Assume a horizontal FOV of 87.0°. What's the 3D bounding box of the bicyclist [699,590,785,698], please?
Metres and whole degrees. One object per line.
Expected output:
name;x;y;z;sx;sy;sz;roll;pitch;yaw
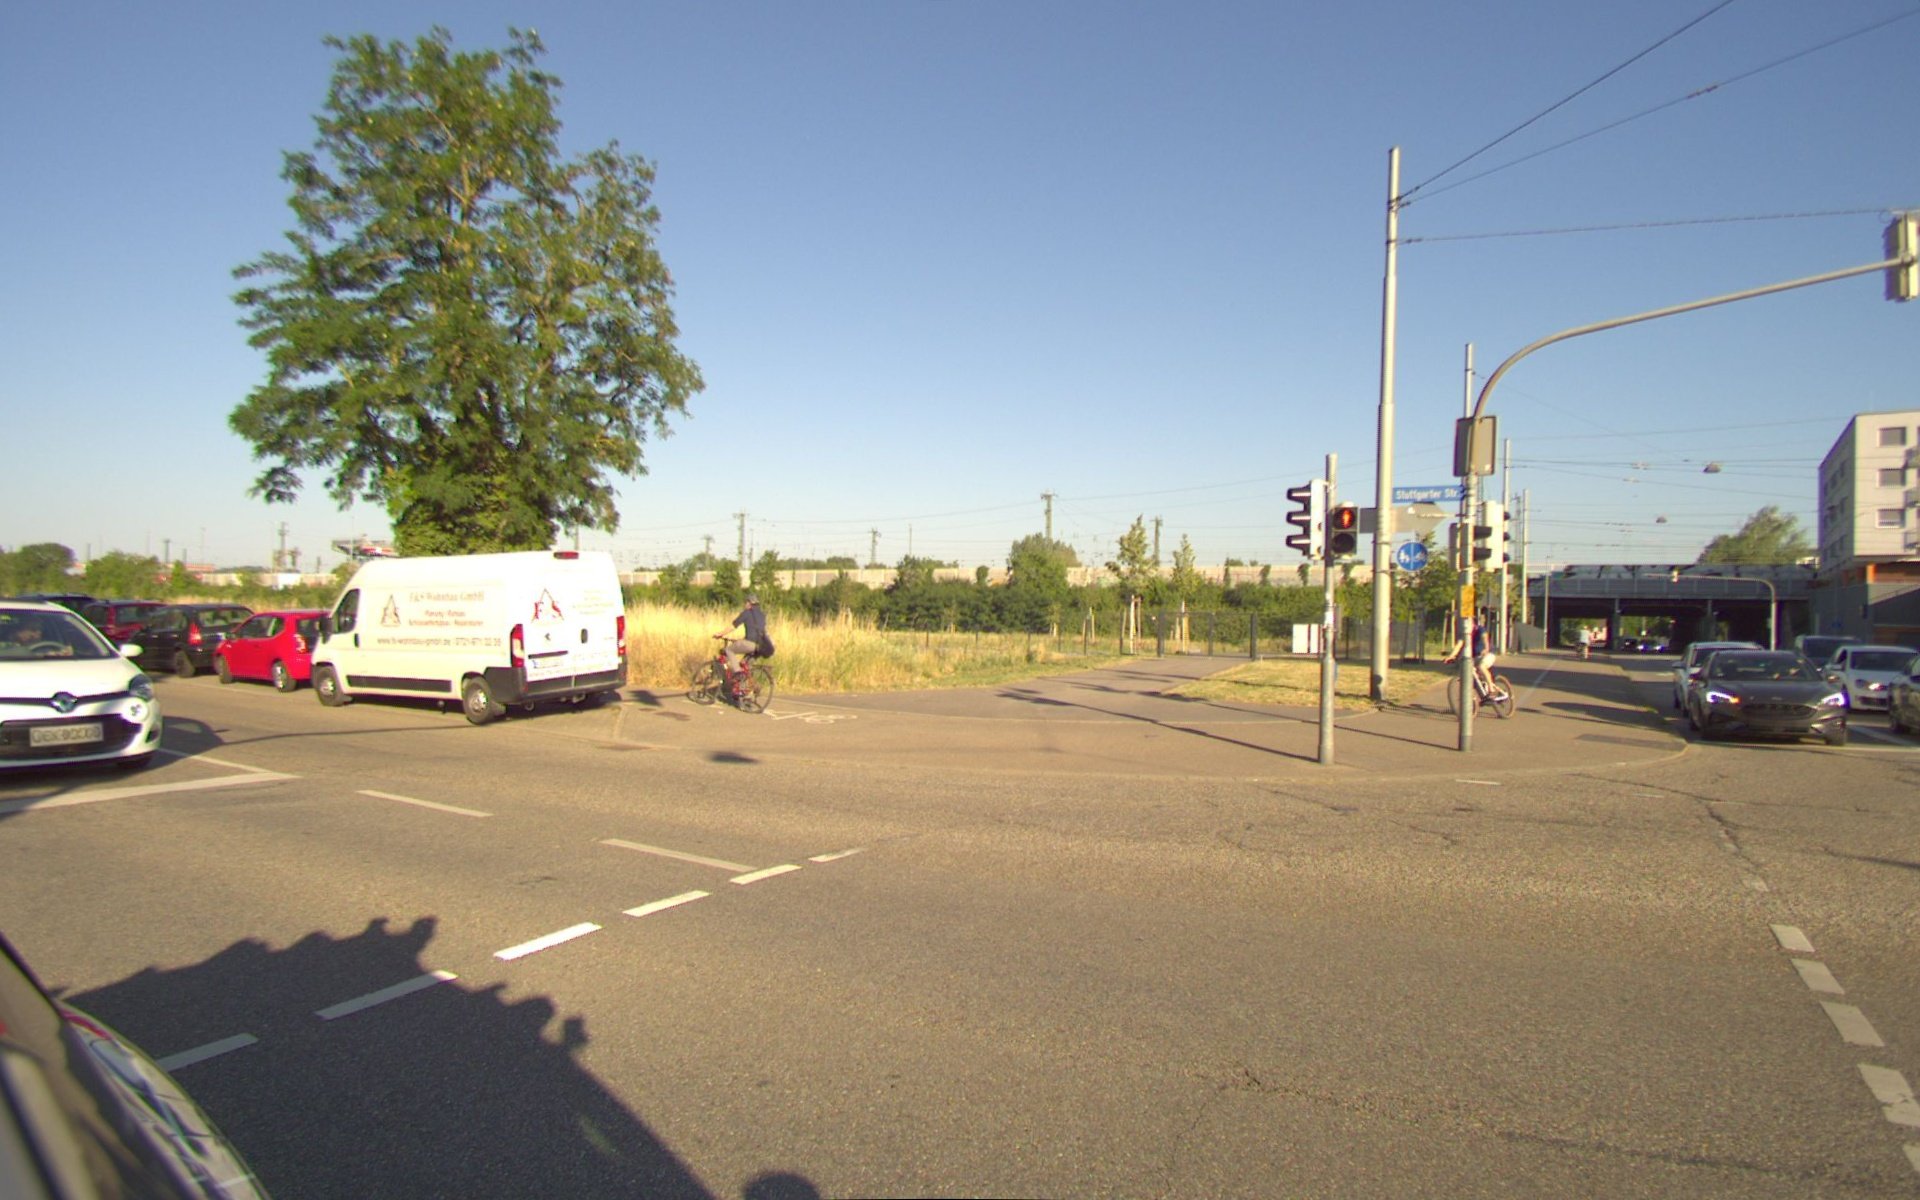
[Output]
bicyclist;-3.451;0.683;16.061;0.969;1.637;0.869;1;-1;30

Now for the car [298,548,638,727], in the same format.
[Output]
car;-7.956;0.459;16.221;5.539;2.454;2.214;1;1;30

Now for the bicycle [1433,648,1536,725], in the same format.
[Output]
bicycle;8.674;1.379;16.688;2.257;1.158;0.794;2;-2;-43

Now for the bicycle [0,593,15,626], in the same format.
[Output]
bicycle;-36.994;0.341;38.418;2.472;1.197;0.931;1;-1;30

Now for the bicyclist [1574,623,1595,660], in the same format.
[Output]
bicyclist;28.084;1.843;45.537;0.775;1.618;0.848;1;-1;33

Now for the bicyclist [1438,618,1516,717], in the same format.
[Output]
bicyclist;8.563;1.089;16.757;1.006;1.559;0.853;2;-2;-44

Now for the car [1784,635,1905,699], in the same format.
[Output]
car;24.994;1.830;28.768;1.995;1.579;4.405;0;-1;33

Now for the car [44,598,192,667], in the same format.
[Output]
car;-20.352;0.754;24.437;3.566;1.541;1.647;1;-1;31

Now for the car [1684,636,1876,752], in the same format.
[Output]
car;13.140;1.395;16.497;1.994;1.579;4.226;0;-2;33

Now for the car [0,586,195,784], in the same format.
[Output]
car;-8.578;0.625;8.861;3.761;1.480;1.688;1;-1;31

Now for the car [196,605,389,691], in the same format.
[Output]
car;-13.057;0.885;19.767;3.681;1.498;1.728;1;-1;31

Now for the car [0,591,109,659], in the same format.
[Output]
car;-24.346;0.632;26.729;3.991;1.672;1.647;1;-1;31

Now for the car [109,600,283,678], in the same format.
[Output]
car;-16.725;0.804;22.120;3.803;1.541;1.728;1;-1;31

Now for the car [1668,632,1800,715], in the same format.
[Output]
car;16.860;1.528;22.243;1.995;1.579;4.226;0;-1;33

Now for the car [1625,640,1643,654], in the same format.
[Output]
car;89.644;6.281;134.537;1.995;1.716;3.953;1;-1;34

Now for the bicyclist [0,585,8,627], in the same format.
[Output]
bicyclist;-36.972;0.211;38.429;1.141;1.609;0.858;1;-1;30

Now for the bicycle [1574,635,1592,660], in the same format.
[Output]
bicycle;28.090;2.137;45.596;0.661;1.077;1.997;1;-1;32

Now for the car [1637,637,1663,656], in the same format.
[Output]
car;69.075;4.633;101.330;1.994;1.716;3.955;1;-1;33

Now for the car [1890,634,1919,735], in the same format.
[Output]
car;16.147;1.346;15.613;2.049;1.579;4.398;0;-1;35

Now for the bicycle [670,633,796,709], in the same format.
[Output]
bicycle;-3.615;1.100;16.099;1.941;1.101;0.747;1;-1;29

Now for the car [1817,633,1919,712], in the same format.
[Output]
car;20.606;1.539;22.389;1.995;1.579;4.405;0;-1;33
